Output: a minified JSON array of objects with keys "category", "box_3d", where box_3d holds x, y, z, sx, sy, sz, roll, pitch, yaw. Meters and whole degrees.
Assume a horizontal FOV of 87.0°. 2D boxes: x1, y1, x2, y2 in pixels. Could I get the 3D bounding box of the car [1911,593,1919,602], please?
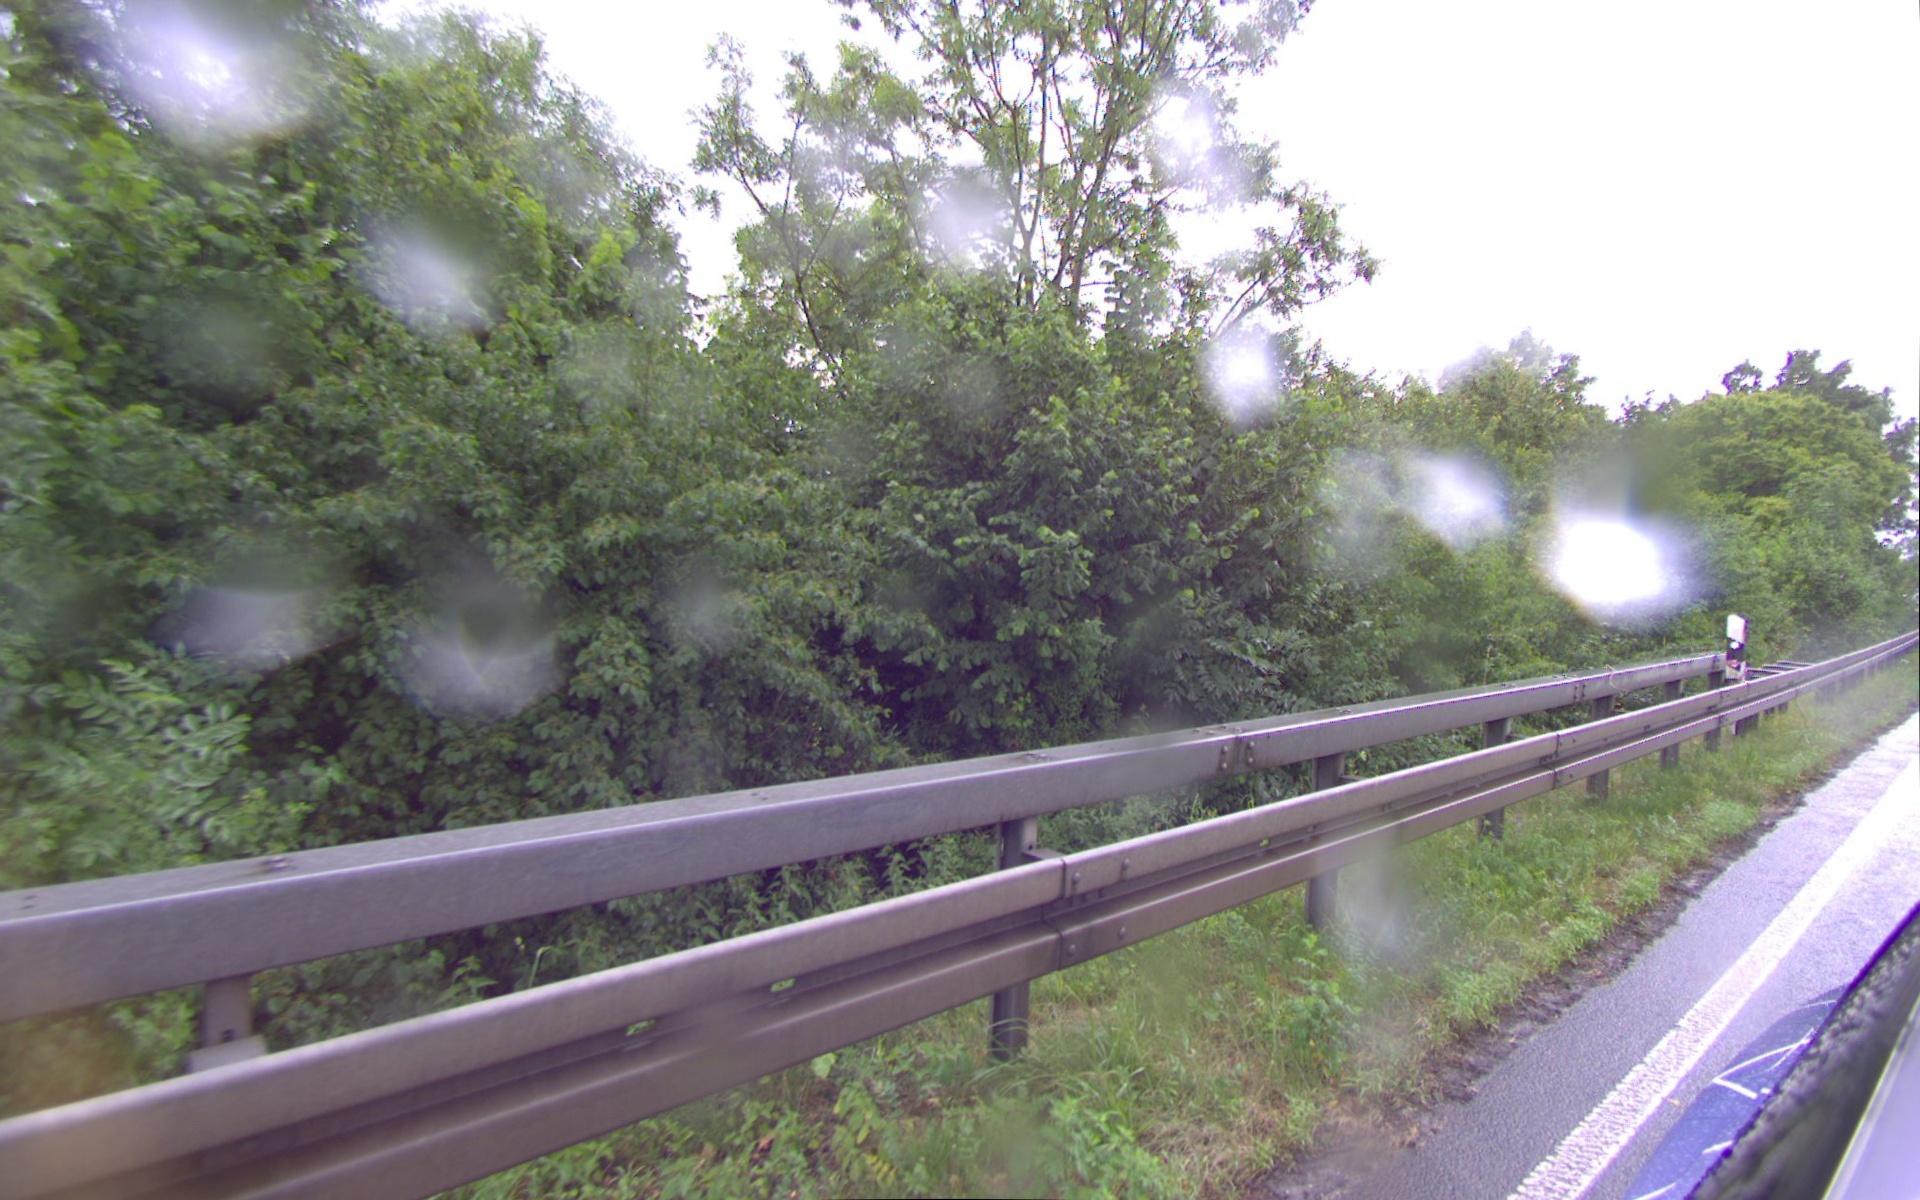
[{"category":"car","box_3d":[120.210,-0.352,126.957,1.139,1.144,2.517,1,0,38]}]
